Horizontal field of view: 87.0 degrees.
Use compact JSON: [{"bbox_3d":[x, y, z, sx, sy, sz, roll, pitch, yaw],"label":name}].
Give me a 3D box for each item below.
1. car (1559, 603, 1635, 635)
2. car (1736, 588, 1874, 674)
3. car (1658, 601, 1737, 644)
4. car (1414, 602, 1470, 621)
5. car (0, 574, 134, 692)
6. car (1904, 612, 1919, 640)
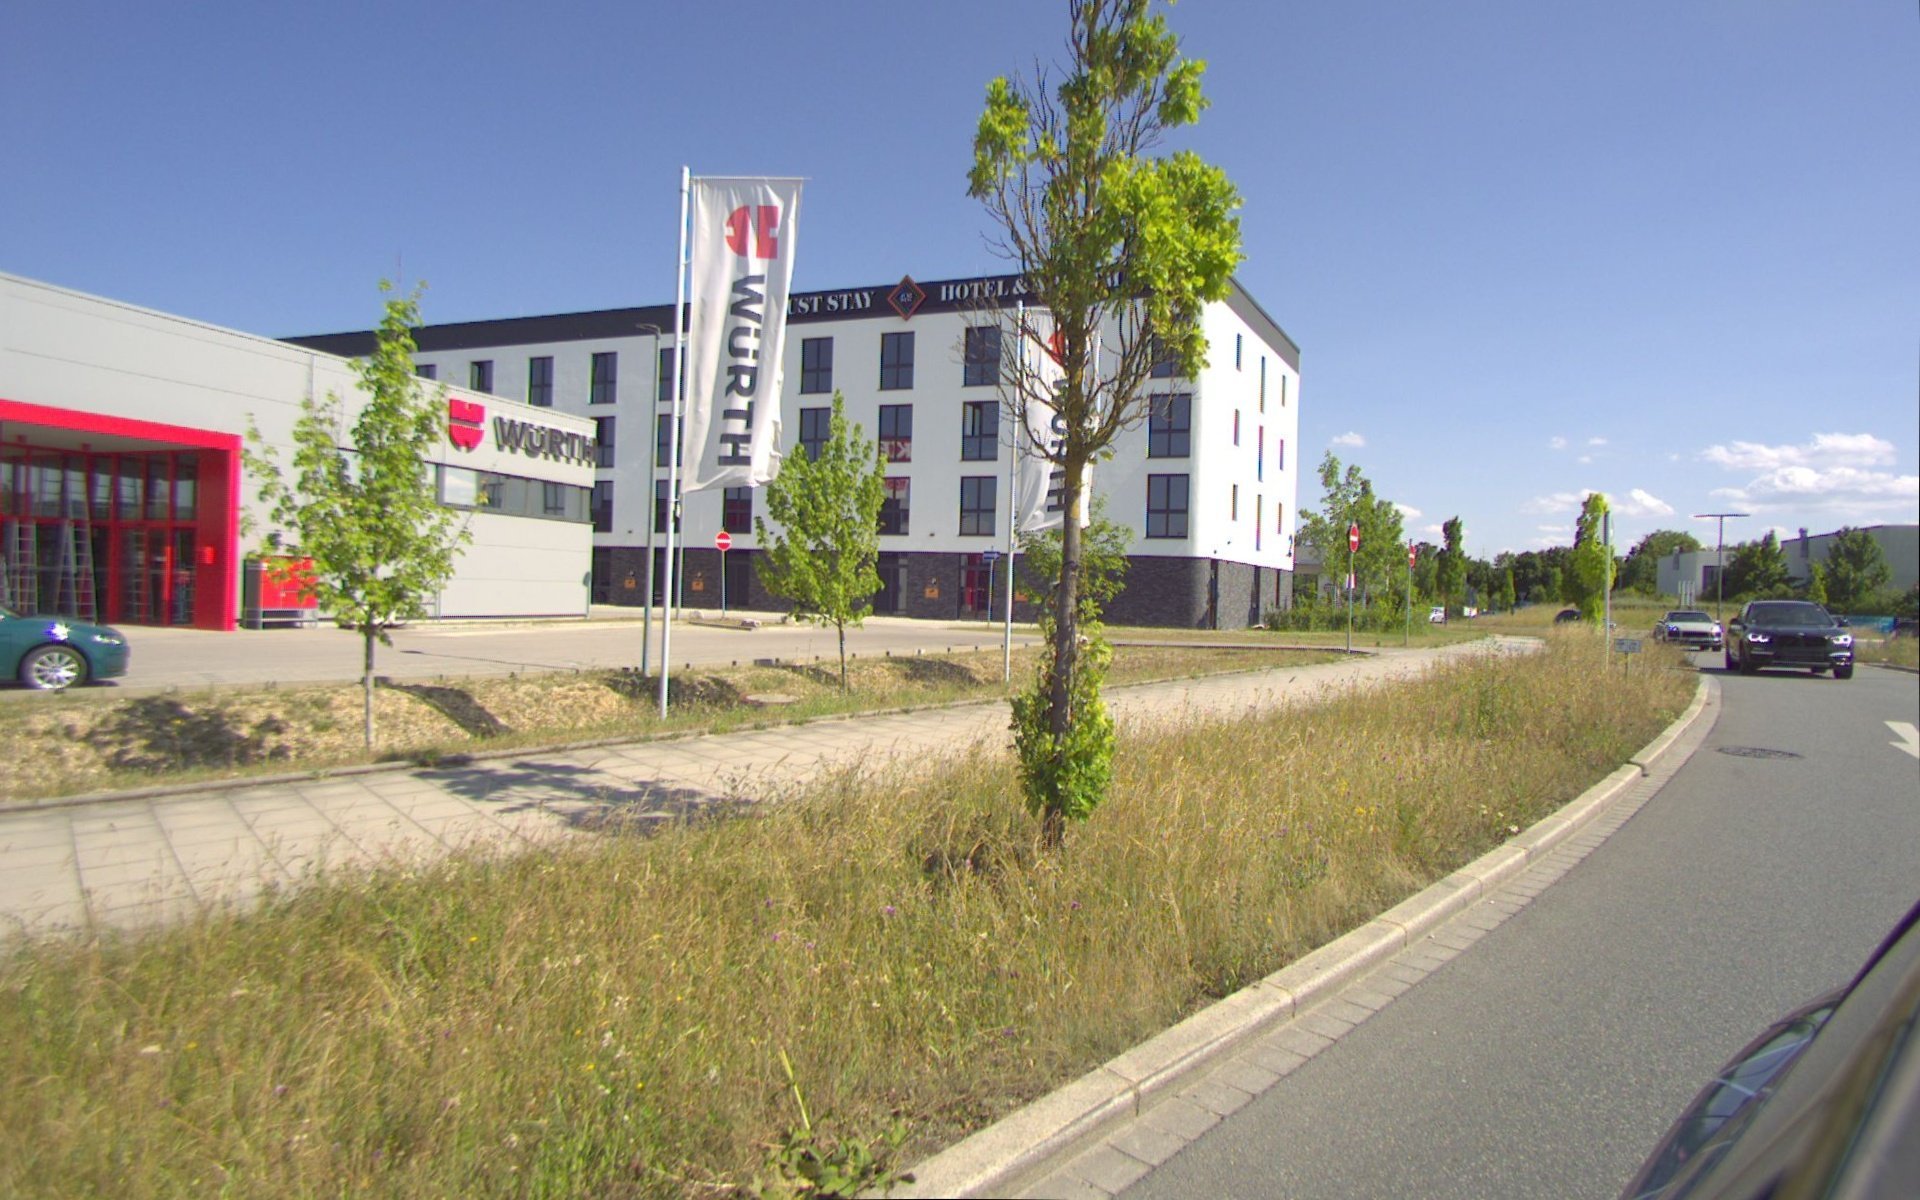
[{"bbox_3d":[38.266,1.103,60.901,1.724,1.709,4.382,1,1,0],"label":"car"},{"bbox_3d":[18.668,0.669,22.555,1.889,1.701,4.410,1,-1,34],"label":"car"},{"bbox_3d":[31.163,0.969,42.892,2.097,1.664,4.727,1,-1,29],"label":"car"},{"bbox_3d":[41.533,0.970,87.187,3.916,1.545,2.004,1,1,-14],"label":"car"},{"bbox_3d":[-12.734,0.379,12.378,1.514,1.425,3.935,2,1,45],"label":"car"},{"bbox_3d":[58.004,1.568,60.024,4.432,1.627,1.760,1,1,-31],"label":"car"}]
